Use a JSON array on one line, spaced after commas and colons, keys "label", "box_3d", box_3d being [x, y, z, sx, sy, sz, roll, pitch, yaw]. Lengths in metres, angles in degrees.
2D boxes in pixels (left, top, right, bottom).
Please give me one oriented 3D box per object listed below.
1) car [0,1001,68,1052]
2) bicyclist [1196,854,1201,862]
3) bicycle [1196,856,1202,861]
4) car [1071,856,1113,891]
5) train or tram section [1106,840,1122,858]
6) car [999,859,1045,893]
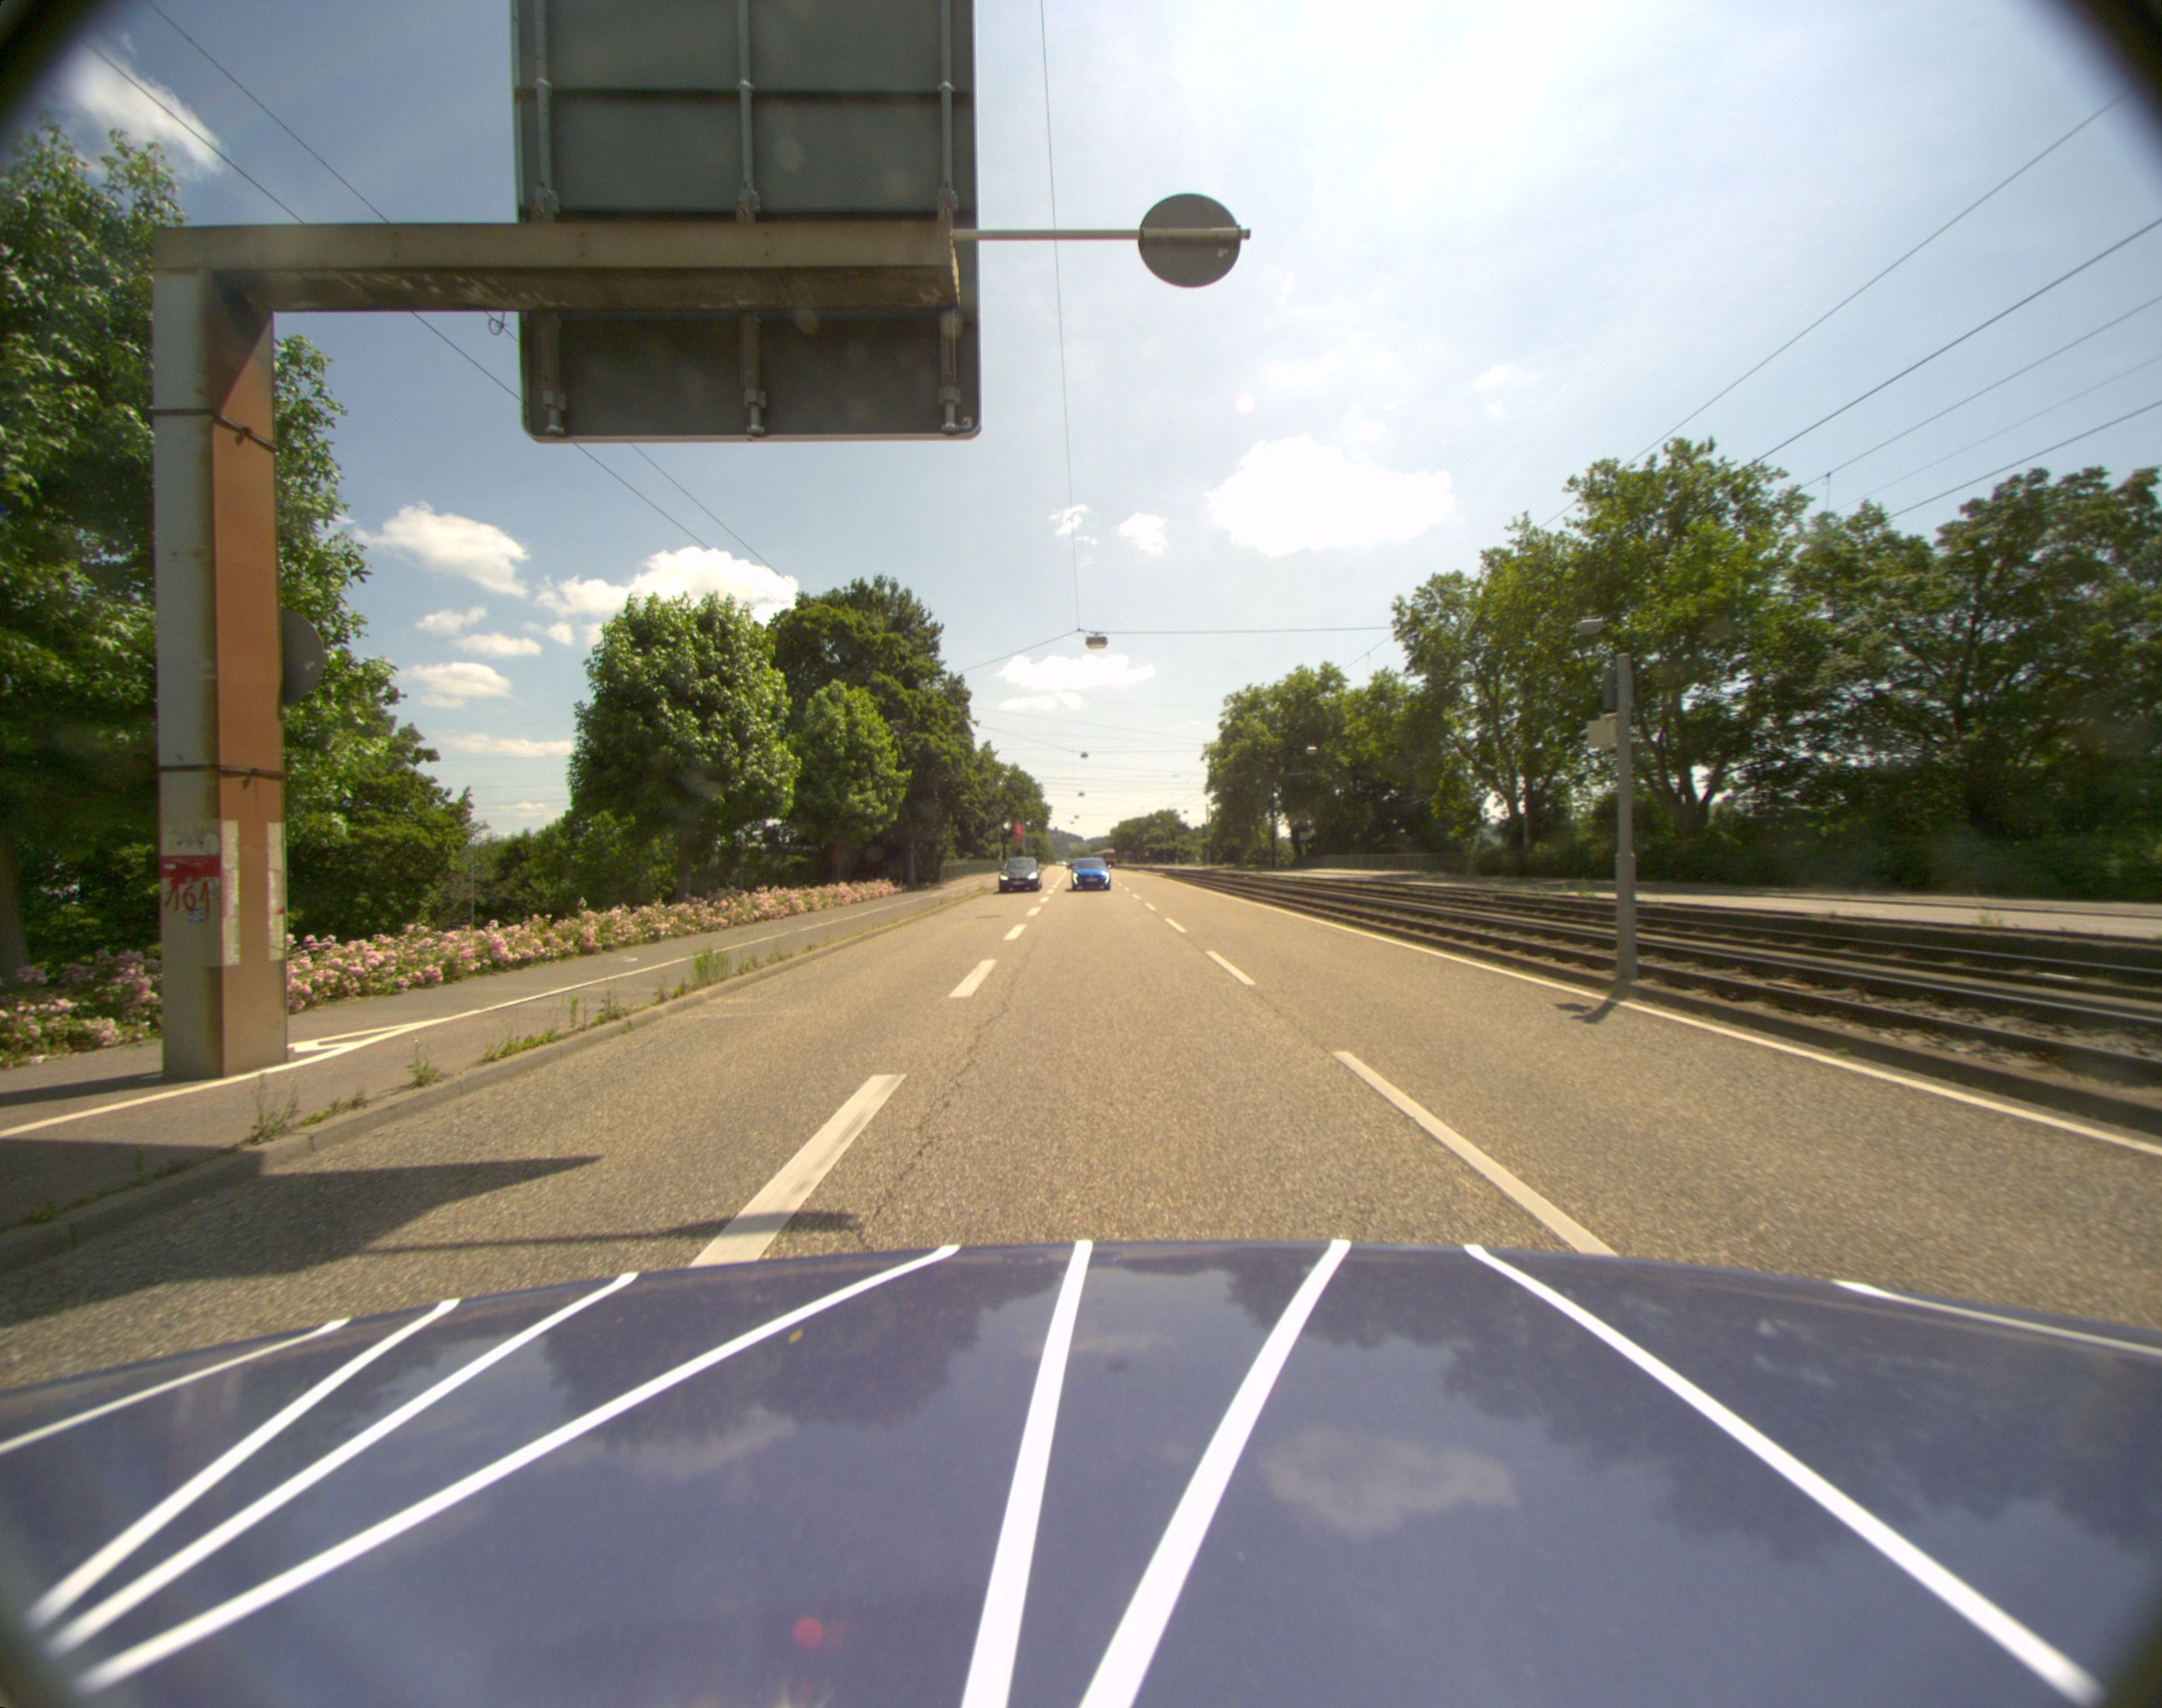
[{"label": "car", "box_3d": [-39.587, 6.313, 27.645, 3.372, 1.508, 1.545, -2, 1, 2]}, {"label": "bicyclist", "box_3d": [21.373, 0.702, 137.811, 0.712, 1.475, 0.918, -2, 1, -1]}, {"label": "bicycle", "box_3d": [21.367, 0.869, 137.869, 0.712, 0.912, 2.182, -2, 0, -1]}, {"label": "car", "box_3d": [0.436, 0.861, 34.930, 1.771, 1.463, 4.467, -2, 0, -1]}, {"label": "train or tram section", "box_3d": [7.777, -1.081, 180.818, 3.045, 4.116, 13.981, -1, 0, 0]}, {"label": "car", "box_3d": [-2.670, 0.952, 35.062, 1.771, 1.422, 4.000, -2, 0, 0]}]
